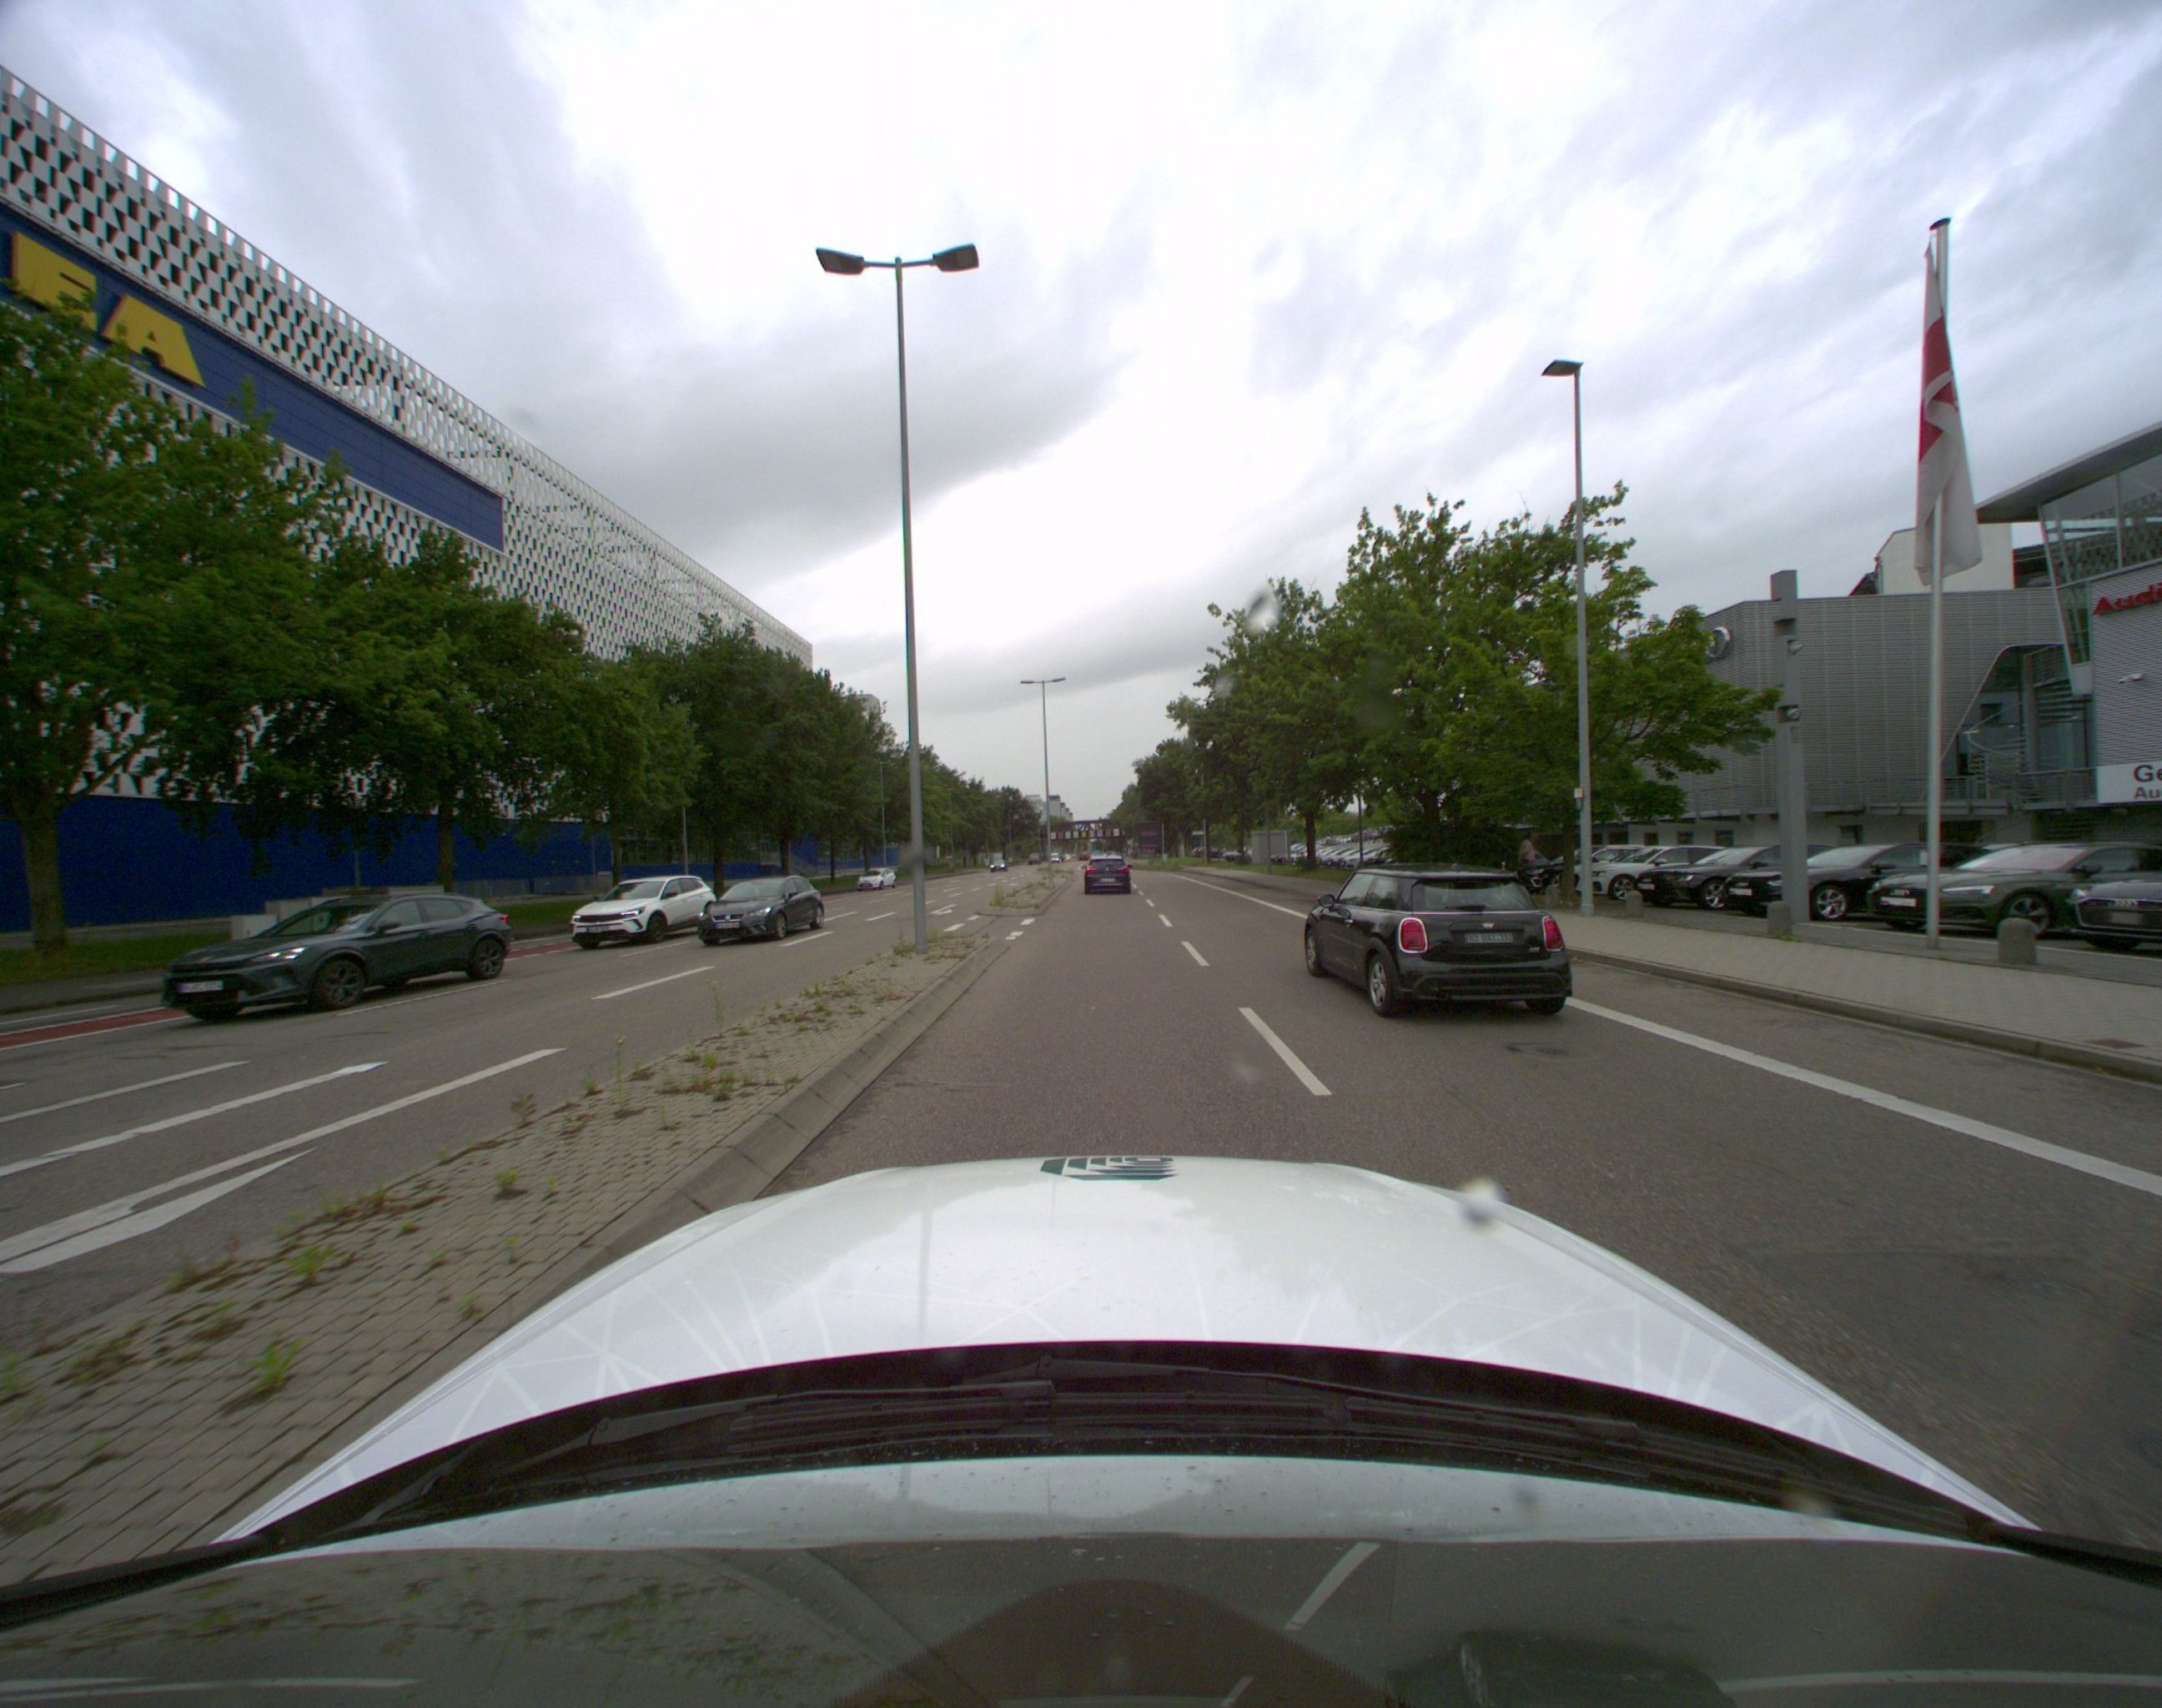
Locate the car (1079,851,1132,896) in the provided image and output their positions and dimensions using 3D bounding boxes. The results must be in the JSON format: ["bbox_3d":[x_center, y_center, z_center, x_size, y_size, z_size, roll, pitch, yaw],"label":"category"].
[{"bbox_3d":[0.997,0.689,30.864,1.749,1.434,4.006,-2,1,5],"label":"car"}]

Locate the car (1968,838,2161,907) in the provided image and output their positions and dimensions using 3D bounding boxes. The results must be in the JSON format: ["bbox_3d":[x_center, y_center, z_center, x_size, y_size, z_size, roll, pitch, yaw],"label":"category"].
[{"bbox_3d":[25.288,0.426,20.418,4.087,1.544,1.817,-1,2,1],"label":"car"}]

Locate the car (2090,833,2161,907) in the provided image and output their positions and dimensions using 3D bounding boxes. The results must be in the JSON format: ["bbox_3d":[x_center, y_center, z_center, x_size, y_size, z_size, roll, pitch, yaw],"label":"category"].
[{"bbox_3d":[25.284,0.357,17.889,3.942,1.579,1.817,0,2,1],"label":"car"}]

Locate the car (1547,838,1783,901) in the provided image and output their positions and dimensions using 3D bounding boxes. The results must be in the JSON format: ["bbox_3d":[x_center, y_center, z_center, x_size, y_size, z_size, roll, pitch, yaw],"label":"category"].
[{"bbox_3d":[14.605,0.349,20.553,4.632,1.472,1.848,1,1,1],"label":"car"}]

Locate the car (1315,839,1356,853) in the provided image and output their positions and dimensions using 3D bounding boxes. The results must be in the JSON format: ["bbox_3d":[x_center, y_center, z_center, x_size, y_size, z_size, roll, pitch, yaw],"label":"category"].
[{"bbox_3d":[28.536,-0.936,91.456,4.072,1.435,1.730,-1,2,0],"label":"car"}]

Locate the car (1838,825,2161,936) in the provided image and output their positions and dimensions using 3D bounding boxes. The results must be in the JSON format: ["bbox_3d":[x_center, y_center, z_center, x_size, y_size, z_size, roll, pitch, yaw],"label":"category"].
[{"bbox_3d":[14.324,0.372,12.218,4.162,1.486,1.909,1,0,1],"label":"car"}]

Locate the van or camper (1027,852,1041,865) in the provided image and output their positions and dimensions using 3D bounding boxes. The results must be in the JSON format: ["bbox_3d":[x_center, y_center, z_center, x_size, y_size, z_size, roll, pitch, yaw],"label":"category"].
[{"bbox_3d":[-7.991,0.723,139.689,1.868,1.986,4.891,-3,1,1],"label":"van or camper"}]

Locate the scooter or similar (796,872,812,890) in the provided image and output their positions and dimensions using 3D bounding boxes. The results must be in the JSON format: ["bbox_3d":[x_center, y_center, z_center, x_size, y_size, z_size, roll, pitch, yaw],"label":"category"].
[{"bbox_3d":[-19.374,1.899,56.926,0.653,1.196,1.377,-1,1,-1],"label":"scooter or similar"}]

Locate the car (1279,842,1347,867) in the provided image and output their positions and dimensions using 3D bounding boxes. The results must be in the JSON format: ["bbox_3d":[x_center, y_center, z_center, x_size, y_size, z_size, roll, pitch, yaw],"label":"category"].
[{"bbox_3d":[16.560,0.044,58.294,4.276,1.504,2.031,3,1,2],"label":"car"}]

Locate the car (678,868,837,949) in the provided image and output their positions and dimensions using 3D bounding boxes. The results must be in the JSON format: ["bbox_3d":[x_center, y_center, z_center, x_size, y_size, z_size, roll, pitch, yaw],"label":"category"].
[{"bbox_3d":[-7.486,1.192,19.368,1.850,1.462,4.334,-4,1,2],"label":"car"}]

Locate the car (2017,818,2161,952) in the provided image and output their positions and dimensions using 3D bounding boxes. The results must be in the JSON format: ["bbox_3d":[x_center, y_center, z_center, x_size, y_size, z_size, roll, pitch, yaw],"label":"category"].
[{"bbox_3d":[14.129,0.369,9.501,4.202,1.486,1.872,1,0,2],"label":"car"}]

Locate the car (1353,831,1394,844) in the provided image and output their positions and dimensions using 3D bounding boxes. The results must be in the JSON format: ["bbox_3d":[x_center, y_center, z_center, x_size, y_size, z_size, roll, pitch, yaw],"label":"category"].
[{"bbox_3d":[33.020,-1.857,91.920,4.072,1.435,1.730,-1,2,0],"label":"car"}]

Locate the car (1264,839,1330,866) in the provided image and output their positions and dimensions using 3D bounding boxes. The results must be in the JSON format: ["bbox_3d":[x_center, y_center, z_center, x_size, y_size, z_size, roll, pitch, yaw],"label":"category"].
[{"bbox_3d":[16.733,-0.116,63.305,4.532,1.701,2.002,4,2,2],"label":"car"}]

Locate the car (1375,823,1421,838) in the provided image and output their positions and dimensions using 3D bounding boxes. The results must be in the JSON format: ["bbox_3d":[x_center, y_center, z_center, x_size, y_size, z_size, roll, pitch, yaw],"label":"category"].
[{"bbox_3d":[32.848,-2.477,84.481,4.072,1.496,1.730,-1,2,0],"label":"car"}]

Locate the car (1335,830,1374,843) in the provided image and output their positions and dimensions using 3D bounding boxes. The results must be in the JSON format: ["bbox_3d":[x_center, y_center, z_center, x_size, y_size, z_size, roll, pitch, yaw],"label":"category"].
[{"bbox_3d":[33.574,-2.135,99.935,4.185,1.435,1.730,-1,2,0],"label":"car"}]

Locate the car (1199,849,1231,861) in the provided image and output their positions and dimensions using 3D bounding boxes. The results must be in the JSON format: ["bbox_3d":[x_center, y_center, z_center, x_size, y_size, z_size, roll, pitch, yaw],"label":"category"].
[{"bbox_3d":[17.445,0.133,106.188,3.964,1.435,1.734,-1,2,8],"label":"car"}]

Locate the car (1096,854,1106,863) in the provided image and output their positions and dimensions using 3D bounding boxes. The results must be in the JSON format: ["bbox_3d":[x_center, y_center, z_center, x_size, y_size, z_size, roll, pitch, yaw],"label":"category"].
[{"bbox_3d":[4.598,0.960,184.434,1.941,1.815,4.005,-1,2,4],"label":"car"}]

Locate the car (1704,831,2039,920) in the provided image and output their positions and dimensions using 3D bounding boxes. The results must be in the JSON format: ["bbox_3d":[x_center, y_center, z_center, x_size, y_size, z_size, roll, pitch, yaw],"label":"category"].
[{"bbox_3d":[14.452,0.362,15.095,4.350,1.470,1.895,1,0,1],"label":"car"}]

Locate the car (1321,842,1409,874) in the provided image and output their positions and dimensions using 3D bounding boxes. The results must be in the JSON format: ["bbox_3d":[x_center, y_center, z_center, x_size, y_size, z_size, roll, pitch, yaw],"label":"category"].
[{"bbox_3d":[15.739,0.192,45.267,4.166,1.485,1.978,3,2,2],"label":"car"}]

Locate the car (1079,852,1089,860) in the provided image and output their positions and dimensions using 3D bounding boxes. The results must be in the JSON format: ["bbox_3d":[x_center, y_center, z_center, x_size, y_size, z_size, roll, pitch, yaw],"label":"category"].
[{"bbox_3d":[0.643,0.408,184.171,1.876,1.661,3.787,-1,2,4],"label":"car"}]

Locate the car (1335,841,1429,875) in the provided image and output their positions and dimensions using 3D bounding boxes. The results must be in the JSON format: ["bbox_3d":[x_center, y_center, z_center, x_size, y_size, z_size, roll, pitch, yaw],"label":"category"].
[{"bbox_3d":[15.731,0.172,42.708,4.181,1.485,1.960,3,2,1],"label":"car"}]

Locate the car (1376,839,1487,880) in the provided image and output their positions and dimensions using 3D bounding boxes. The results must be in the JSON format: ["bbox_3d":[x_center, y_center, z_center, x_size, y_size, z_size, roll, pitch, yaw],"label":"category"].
[{"bbox_3d":[15.964,0.218,37.258,4.193,1.485,1.826,4,2,1],"label":"car"}]

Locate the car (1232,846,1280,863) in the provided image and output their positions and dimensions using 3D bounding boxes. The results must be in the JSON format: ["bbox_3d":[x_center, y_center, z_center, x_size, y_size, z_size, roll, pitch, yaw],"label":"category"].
[{"bbox_3d":[17.295,0.041,80.686,4.328,1.503,1.930,1,0,1],"label":"car"}]

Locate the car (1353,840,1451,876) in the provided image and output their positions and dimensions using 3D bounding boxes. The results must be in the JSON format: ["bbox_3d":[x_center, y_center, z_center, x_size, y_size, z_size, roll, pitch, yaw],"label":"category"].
[{"bbox_3d":[15.741,0.159,40.100,4.049,1.485,1.819,3,2,1],"label":"car"}]

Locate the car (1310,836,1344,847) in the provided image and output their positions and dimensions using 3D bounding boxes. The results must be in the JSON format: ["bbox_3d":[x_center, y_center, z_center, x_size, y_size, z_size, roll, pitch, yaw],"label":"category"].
[{"bbox_3d":[33.862,-1.744,112.151,4.072,1.435,1.730,-1,2,0],"label":"car"}]

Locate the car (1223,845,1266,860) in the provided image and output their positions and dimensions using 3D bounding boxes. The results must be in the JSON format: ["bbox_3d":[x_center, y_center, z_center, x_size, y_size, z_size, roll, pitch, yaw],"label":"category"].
[{"bbox_3d":[17.175,-0.162,85.633,4.072,1.435,1.822,-1,2,0],"label":"car"}]

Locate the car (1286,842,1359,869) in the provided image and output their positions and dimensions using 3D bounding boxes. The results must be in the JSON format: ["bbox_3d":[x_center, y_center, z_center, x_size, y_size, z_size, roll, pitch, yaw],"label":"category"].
[{"bbox_3d":[16.466,0.101,55.719,4.376,1.520,2.002,4,2,2],"label":"car"}]

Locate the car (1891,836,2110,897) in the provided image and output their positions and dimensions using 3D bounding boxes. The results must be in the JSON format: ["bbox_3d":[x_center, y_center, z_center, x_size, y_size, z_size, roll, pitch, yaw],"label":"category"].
[{"bbox_3d":[25.731,0.330,22.899,4.087,1.544,1.817,-1,2,1],"label":"car"}]

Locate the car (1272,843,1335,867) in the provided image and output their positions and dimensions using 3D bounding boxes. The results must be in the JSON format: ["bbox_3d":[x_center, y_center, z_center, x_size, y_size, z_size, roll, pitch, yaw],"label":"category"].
[{"bbox_3d":[16.567,0.047,60.706,4.159,1.445,1.962,4,2,2],"label":"car"}]

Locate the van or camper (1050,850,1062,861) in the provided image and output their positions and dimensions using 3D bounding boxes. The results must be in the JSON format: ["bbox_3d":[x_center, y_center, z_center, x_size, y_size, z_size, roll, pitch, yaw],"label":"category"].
[{"bbox_3d":[-4.470,0.329,144.256,1.749,1.747,4.409,-5,1,2],"label":"van or camper"}]

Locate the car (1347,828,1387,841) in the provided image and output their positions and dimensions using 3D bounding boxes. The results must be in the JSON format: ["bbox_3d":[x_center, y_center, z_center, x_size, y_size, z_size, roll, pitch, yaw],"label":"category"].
[{"bbox_3d":[33.262,-2.306,94.757,4.072,1.435,1.730,-1,2,0],"label":"car"}]

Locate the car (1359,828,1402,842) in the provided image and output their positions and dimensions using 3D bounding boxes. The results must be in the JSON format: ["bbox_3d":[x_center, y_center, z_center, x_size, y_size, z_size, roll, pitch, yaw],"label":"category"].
[{"bbox_3d":[32.978,-2.150,89.661,4.072,1.435,1.947,-1,2,0],"label":"car"}]

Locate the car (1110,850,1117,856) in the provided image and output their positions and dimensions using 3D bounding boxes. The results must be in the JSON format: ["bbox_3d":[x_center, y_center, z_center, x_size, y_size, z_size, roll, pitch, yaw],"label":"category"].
[{"bbox_3d":[9.906,-0.243,249.834,1.941,1.815,4.005,-1,2,4],"label":"car"}]

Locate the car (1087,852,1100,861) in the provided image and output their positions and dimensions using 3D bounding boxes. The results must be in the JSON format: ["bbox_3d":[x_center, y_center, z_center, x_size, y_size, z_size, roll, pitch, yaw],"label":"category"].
[{"bbox_3d":[2.383,0.460,154.999,2.126,1.661,3.787,-1,2,4],"label":"car"}]

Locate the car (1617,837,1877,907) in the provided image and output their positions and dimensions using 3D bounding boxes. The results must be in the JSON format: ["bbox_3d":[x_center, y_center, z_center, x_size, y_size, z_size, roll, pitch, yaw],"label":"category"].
[{"bbox_3d":[14.453,0.365,17.860,4.139,1.390,1.903,1,0,1],"label":"car"}]

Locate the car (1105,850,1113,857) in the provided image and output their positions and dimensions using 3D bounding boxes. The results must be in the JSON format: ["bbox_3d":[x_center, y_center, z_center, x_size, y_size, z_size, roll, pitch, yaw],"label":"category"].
[{"bbox_3d":[7.379,-0.173,215.377,1.941,1.815,4.005,-1,2,4],"label":"car"}]

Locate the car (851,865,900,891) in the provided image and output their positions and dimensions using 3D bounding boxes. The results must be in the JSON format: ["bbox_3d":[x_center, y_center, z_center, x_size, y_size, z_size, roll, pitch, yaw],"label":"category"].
[{"bbox_3d":[-14.127,1.599,56.204,1.848,1.462,4.339,-4,1,6],"label":"car"}]

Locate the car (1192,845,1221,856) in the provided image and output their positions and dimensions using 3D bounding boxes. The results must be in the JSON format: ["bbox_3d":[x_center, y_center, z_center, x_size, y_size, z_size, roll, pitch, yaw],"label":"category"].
[{"bbox_3d":[17.267,-0.489,112.261,3.964,1.435,1.734,-1,2,8],"label":"car"}]

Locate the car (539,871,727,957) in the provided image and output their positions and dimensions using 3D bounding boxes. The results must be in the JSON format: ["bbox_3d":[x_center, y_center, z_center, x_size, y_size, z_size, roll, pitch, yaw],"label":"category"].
[{"bbox_3d":[-11.104,1.401,20.679,1.986,1.594,4.579,-5,1,2],"label":"car"}]

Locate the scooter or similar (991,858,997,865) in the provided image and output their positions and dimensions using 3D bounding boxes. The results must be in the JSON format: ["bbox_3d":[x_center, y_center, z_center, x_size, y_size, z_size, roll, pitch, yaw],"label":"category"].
[{"bbox_3d":[-14.630,1.265,136.957,0.759,1.089,2.007,-1,2,1],"label":"scooter or similar"}]

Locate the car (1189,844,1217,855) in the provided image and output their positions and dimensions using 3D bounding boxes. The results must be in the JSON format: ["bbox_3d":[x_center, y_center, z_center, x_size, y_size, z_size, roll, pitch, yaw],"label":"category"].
[{"bbox_3d":[17.160,-0.606,114.619,3.964,1.435,1.734,-1,2,8],"label":"car"}]

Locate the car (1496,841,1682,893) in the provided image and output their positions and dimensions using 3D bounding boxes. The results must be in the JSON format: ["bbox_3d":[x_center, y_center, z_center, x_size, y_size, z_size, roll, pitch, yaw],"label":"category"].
[{"bbox_3d":[14.483,0.352,23.388,4.189,1.421,1.856,0,1,1],"label":"car"}]

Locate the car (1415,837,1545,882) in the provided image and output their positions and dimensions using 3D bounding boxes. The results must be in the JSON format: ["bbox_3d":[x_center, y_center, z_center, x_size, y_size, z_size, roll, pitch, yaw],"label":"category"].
[{"bbox_3d":[15.637,0.176,32.083,4.109,1.393,1.872,4,2,1],"label":"car"}]

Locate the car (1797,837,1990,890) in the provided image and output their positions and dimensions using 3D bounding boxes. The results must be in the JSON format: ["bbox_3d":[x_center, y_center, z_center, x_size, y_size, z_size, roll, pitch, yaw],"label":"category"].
[{"bbox_3d":[25.446,0.266,25.615,4.323,1.486,1.741,-1,2,1],"label":"car"}]

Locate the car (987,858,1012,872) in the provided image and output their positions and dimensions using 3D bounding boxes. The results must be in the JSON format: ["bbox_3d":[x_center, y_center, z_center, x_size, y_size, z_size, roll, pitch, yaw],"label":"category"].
[{"bbox_3d":[-9.720,1.275,97.013,1.907,1.502,4.261,-5,-1,8],"label":"car"}]

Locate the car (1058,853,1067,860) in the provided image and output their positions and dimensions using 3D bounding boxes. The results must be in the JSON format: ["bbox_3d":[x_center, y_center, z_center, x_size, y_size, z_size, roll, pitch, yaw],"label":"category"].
[{"bbox_3d":[-4.369,0.598,193.671,1.746,1.446,3.343,-1,2,4],"label":"car"}]

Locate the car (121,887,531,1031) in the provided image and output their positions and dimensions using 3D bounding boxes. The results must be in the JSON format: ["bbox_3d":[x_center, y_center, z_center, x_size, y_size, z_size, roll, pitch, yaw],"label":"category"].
[{"bbox_3d":[-10.914,1.391,12.401,1.874,1.544,4.597,-4,-1,0],"label":"car"}]

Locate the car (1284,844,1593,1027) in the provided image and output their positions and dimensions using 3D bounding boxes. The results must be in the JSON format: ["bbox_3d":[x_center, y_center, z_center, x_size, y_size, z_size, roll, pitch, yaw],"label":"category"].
[{"bbox_3d":[3.563,0.689,8.903,1.779,1.415,3.645,-4,2,1],"label":"car"}]

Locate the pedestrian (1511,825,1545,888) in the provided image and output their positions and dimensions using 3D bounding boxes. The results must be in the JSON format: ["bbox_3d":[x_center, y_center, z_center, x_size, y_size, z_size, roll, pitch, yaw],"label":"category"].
[{"bbox_3d":[13.513,0.075,24.637,0.669,1.871,0.719,0,0,1],"label":"pedestrian"}]

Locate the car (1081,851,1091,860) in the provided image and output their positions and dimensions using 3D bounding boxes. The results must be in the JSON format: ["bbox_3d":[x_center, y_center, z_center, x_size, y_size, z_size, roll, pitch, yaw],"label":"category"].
[{"bbox_3d":[1.188,0.283,190.955,1.941,1.815,4.005,-1,2,4],"label":"car"}]
